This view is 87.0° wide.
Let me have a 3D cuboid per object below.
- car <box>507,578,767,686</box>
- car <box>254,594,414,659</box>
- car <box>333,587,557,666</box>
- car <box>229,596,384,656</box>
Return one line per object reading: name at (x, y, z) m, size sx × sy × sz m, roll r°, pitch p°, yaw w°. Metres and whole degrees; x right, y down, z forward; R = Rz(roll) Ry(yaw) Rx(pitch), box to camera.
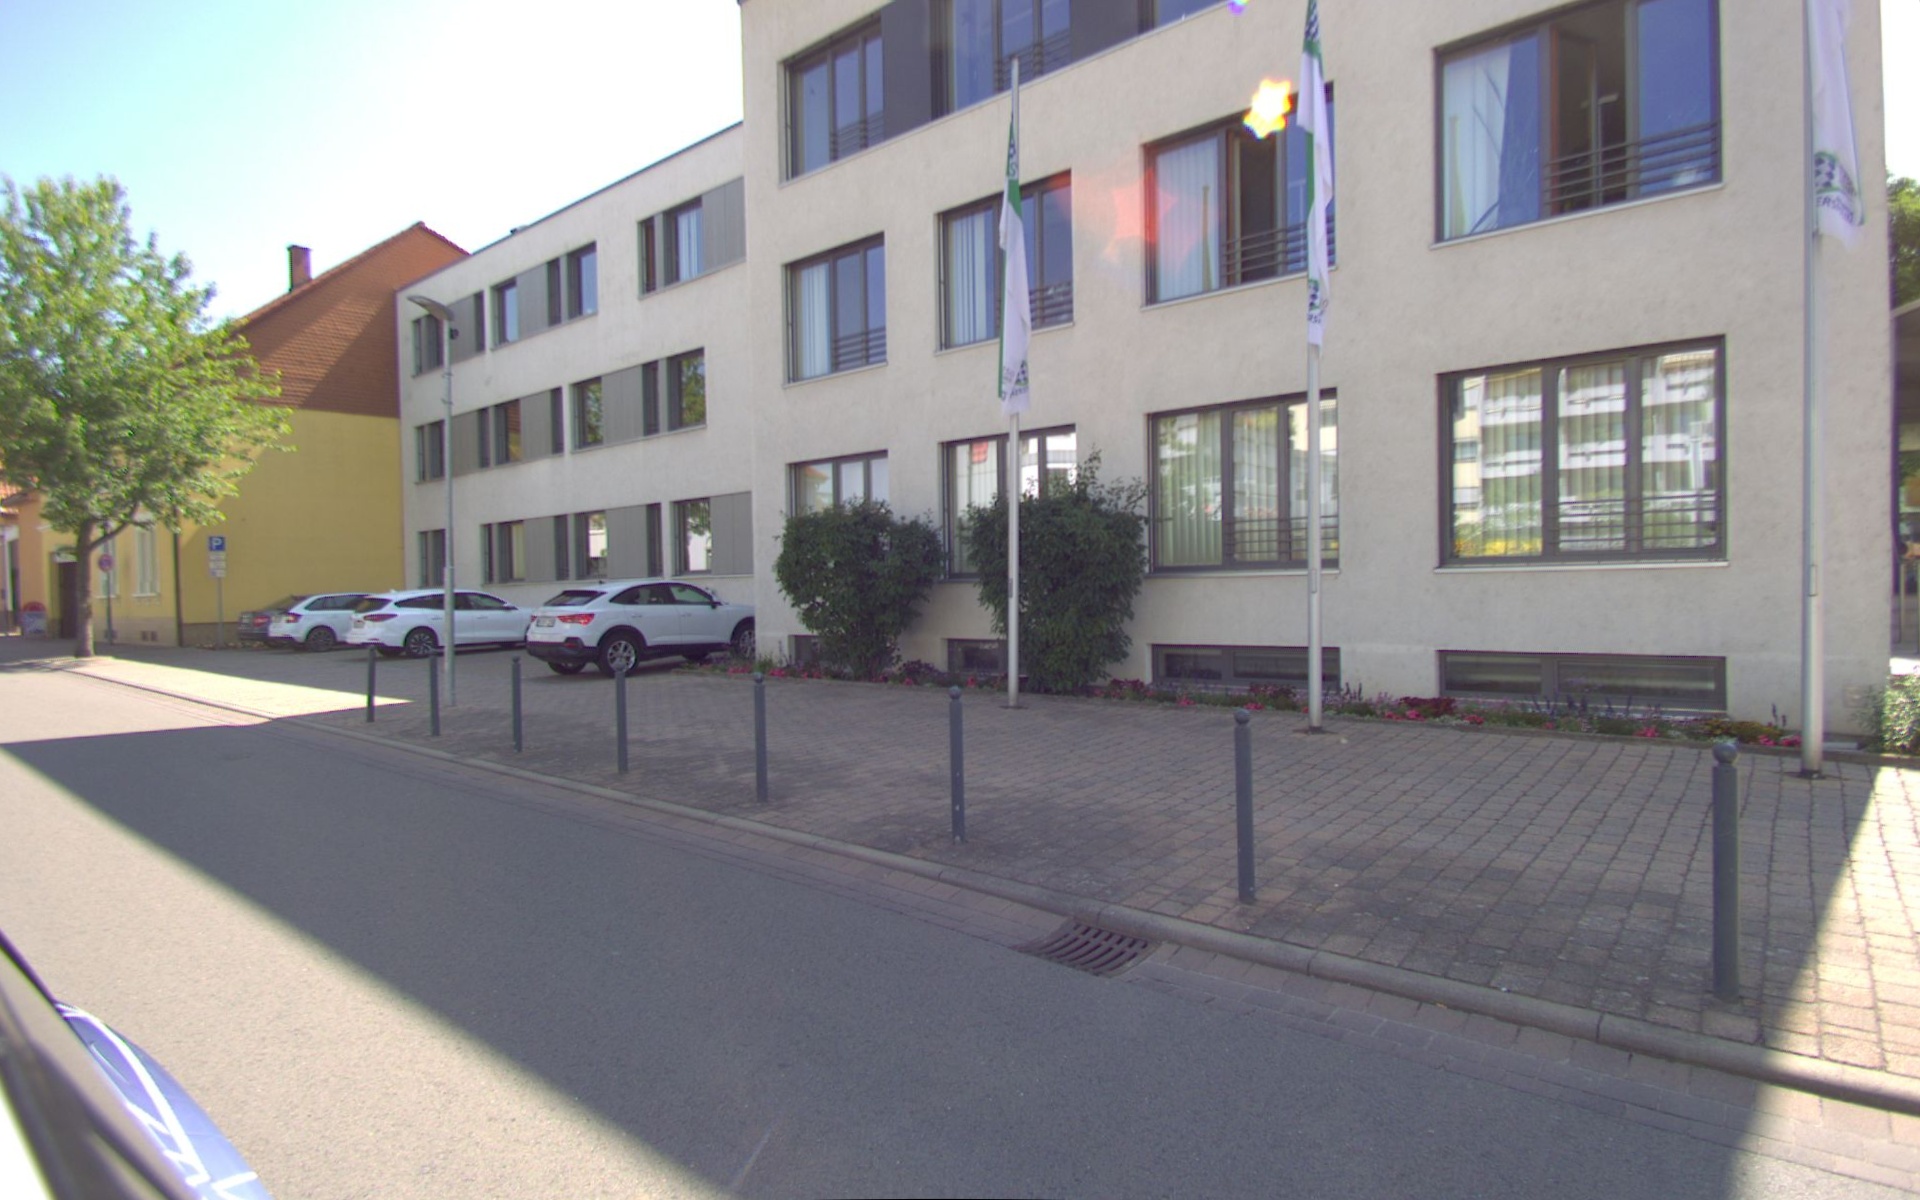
car at (-5.452, 0.469, 17.488) m, size 1.747 × 1.559 × 3.949 m, roll -1°, pitch 2°, yaw 38°
car at (-15.955, 0.629, 25.891) m, size 1.642 × 1.461 × 3.099 m, roll -1°, pitch 2°, yaw 41°
car at (-11.592, 0.532, 23.022) m, size 1.512 × 1.490 × 4.270 m, roll 0°, pitch 2°, yaw 40°
car at (-17.608, 0.664, 27.357) m, size 1.373 × 1.412 × 3.218 m, roll -1°, pitch 2°, yaw 38°
